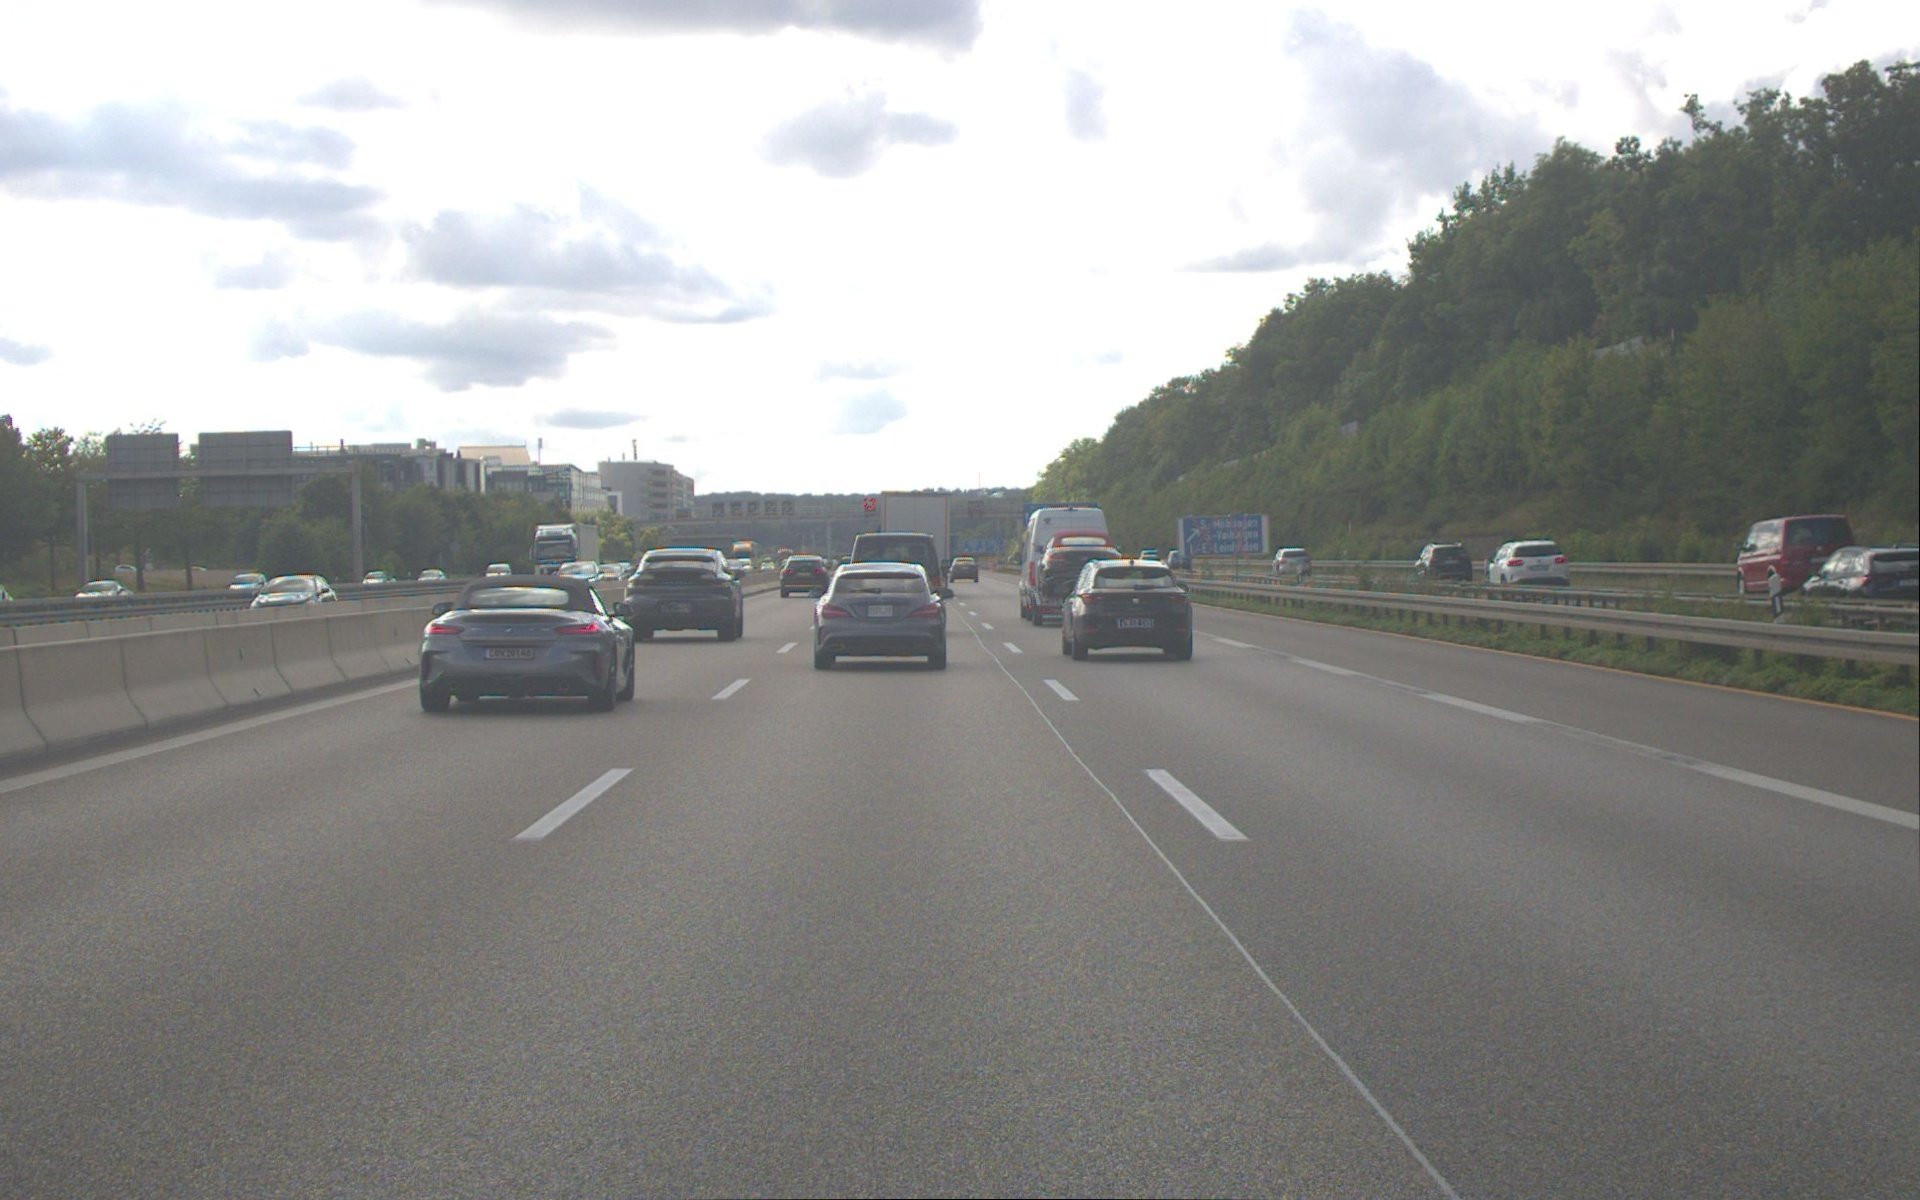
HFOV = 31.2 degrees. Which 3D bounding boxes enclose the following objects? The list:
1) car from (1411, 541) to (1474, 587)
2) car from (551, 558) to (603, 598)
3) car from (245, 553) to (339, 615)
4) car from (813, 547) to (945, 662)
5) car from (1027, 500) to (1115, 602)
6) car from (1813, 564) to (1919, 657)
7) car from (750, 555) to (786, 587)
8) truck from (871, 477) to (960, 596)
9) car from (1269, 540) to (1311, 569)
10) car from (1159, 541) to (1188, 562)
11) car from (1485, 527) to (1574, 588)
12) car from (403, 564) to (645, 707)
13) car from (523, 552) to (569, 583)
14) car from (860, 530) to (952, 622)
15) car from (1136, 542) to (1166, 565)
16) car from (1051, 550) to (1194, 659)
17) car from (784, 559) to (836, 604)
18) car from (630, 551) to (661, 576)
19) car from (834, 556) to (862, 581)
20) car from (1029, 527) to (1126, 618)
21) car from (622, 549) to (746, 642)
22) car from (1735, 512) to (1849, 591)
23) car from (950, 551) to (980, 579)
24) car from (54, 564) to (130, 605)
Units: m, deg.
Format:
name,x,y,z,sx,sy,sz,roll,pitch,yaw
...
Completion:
name,x,y,z,sx,sy,sz,roll,pitch,yaw
car,18.436,-1.380,131.477,1.752,1.689,4.190,0,1,-1
car,-15.251,-0.878,137.152,1.666,1.550,4.000,0,1,-1
car,-17.964,-0.443,92.591,1.779,1.640,4.072,0,1,-1
car,-1.094,0.025,47.102,1.720,1.474,4.392,0,1,-1
car,2.616,-1.168,81.823,1.873,2.349,4.282,0,1,-1
car,16.280,0.152,60.003,1.595,1.540,4.191,0,1,-2
car,-9.636,-1.461,172.640,1.666,1.550,4.000,0,1,-1
truck,-1.715,-2.447,132.318,3.263,4.360,11.027,0,1,-1
car,17.717,-2.445,184.598,1.752,1.512,4.191,0,1,-2
car,15.810,-3.584,254.364,1.752,1.512,4.191,0,1,-2
car,16.125,-1.201,97.507,1.752,1.689,4.190,0,1,-1
car,-4.304,0.311,34.650,1.873,1.298,4.943,0,1,-1
car,-24.293,-1.917,201.806,2.306,1.771,5.065,0,1,-2
car,-1.040,-0.484,66.567,1.720,1.718,4.392,0,1,-1
car,13.253,-3.258,238.751,1.729,1.528,4.453,-1,1,-1
car,2.351,0.031,50.623,1.832,1.516,4.225,0,1,-1
car,-5.749,-0.738,132.389,1.873,1.692,4.072,0,1,-1
car,-19.788,-2.273,216.640,1.666,1.550,4.000,0,1,-1
car,-8.201,-2.312,252.117,1.993,1.809,4.567,0,1,-1
car,2.527,-0.620,74.839,1.913,1.912,4.031,0,1,-1
car,-5.040,-0.123,63.331,1.912,1.630,5.500,0,1,-1
car,19.305,-1.126,79.884,1.595,1.798,3.825,0,1,-2
car,0.303,-2.176,212.067,1.752,1.689,4.190,0,1,-1
car,-36.526,-0.676,144.815,1.993,1.694,5.136,0,1,-1
